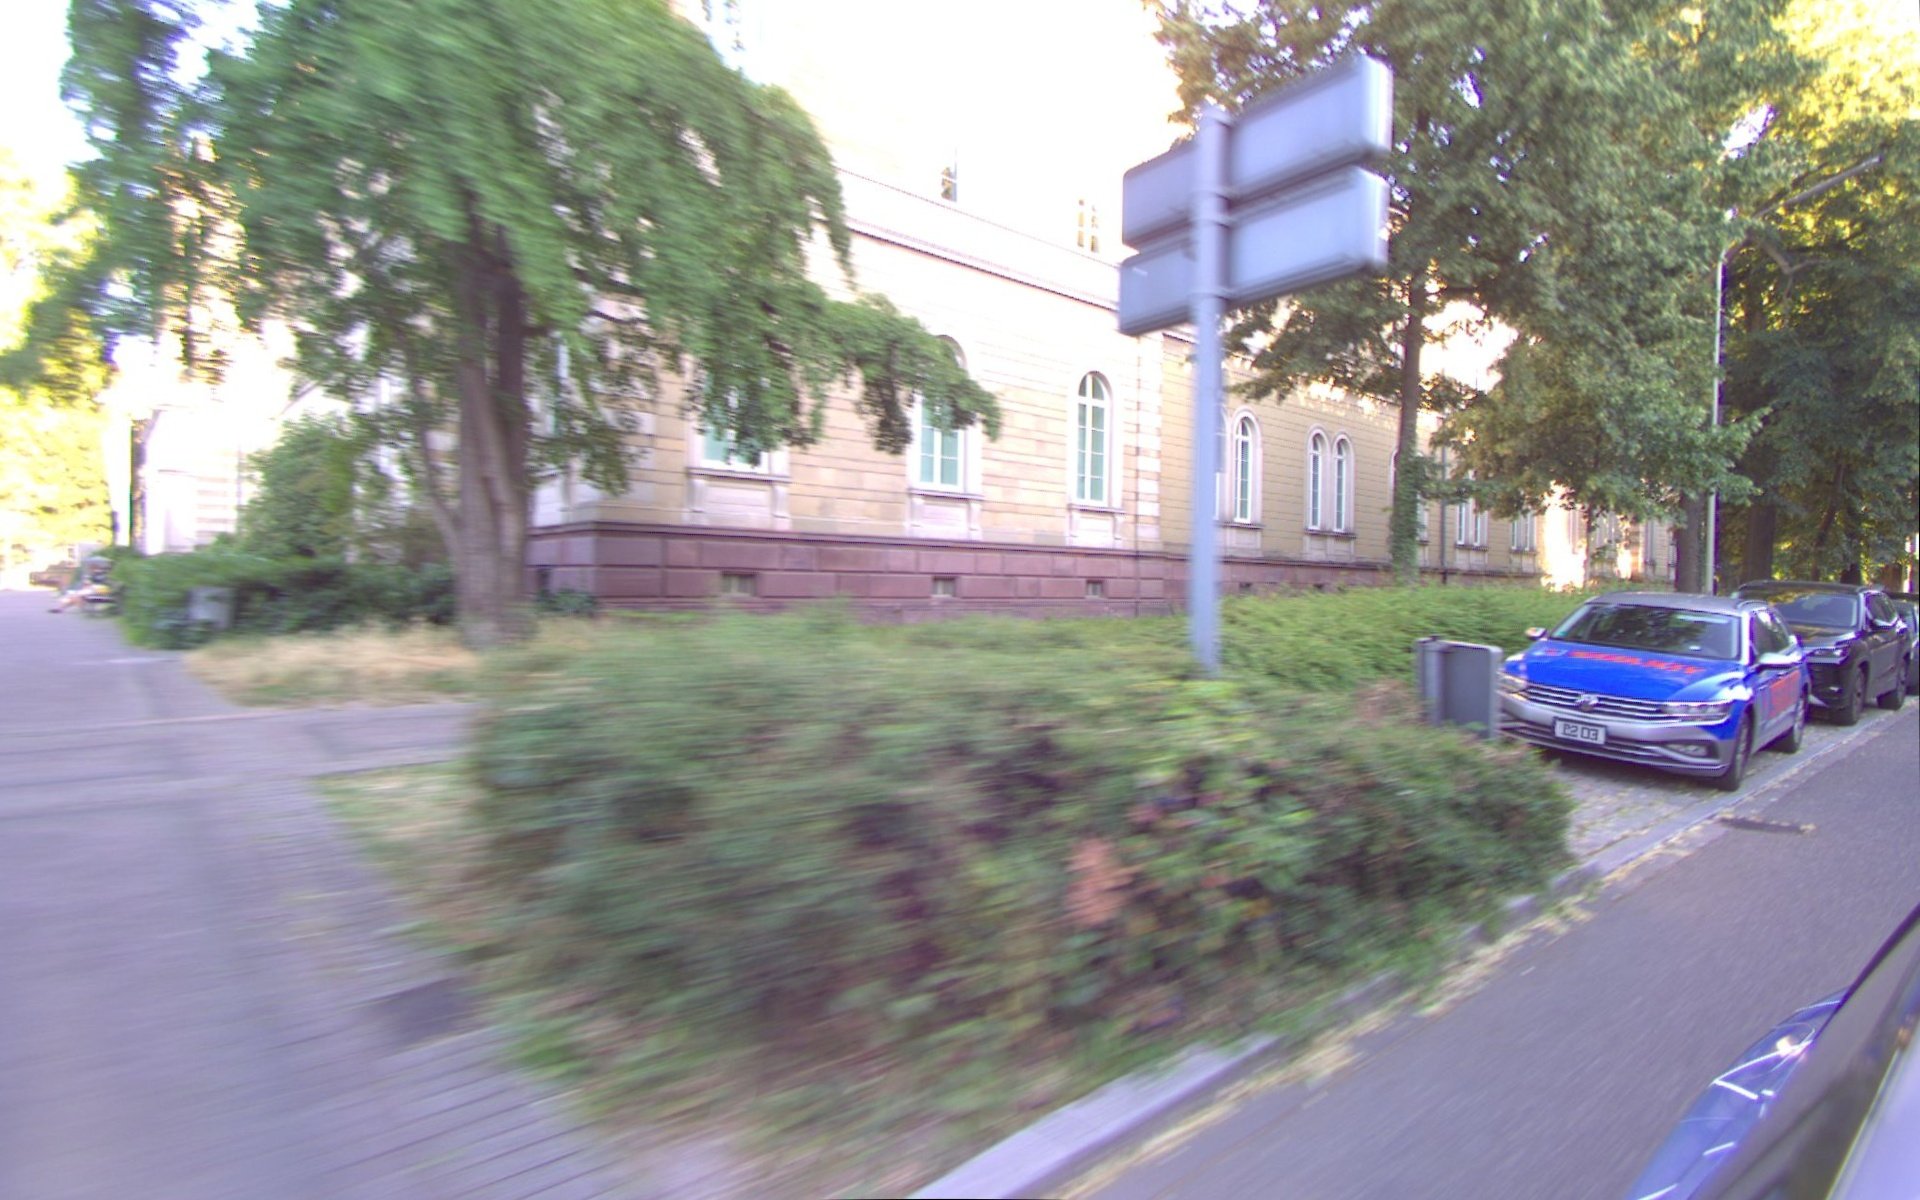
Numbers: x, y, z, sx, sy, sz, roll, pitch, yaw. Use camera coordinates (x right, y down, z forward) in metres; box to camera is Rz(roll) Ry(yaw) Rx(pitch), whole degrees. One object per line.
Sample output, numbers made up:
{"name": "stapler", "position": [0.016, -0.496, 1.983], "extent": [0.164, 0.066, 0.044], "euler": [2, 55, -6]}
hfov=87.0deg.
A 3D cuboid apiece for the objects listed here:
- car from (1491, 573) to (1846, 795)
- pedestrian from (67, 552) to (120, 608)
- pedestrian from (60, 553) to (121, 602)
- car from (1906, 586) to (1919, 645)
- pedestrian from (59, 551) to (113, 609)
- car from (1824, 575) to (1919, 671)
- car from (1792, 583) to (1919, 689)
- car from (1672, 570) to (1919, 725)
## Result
{"name": "car", "position": [6.840, 0.580, 9.553], "extent": [4.532, 1.506, 1.727], "euler": [-1, 5, -43]}
{"name": "pedestrian", "position": [-22.480, -0.517, 26.277], "extent": [1.026, 1.414, 0.695], "euler": [0, 2, -41]}
{"name": "pedestrian", "position": [-29.005, -0.757, 33.792], "extent": [1.540, 1.575, 0.801], "euler": [0, 2, -41]}
{"name": "car", "position": [27.541, 0.450, 27.816], "extent": [4.444, 1.524, 1.739], "euler": [-1, 6, -42]}
{"name": "pedestrian", "position": [-21.848, -0.505, 25.316], "extent": [1.026, 1.414, 0.695], "euler": [0, 2, -41]}
{"name": "car", "position": [19.206, 0.445, 20.551], "extent": [4.342, 1.670, 1.811], "euler": [0, 5, -42]}
{"name": "car", "position": [15.596, 0.535, 17.099], "extent": [4.117, 1.557, 1.727], "euler": [0, 2, -42]}
{"name": "car", "position": [11.141, 0.470, 13.215], "extent": [4.627, 1.671, 1.729], "euler": [-1, 3, -38]}
